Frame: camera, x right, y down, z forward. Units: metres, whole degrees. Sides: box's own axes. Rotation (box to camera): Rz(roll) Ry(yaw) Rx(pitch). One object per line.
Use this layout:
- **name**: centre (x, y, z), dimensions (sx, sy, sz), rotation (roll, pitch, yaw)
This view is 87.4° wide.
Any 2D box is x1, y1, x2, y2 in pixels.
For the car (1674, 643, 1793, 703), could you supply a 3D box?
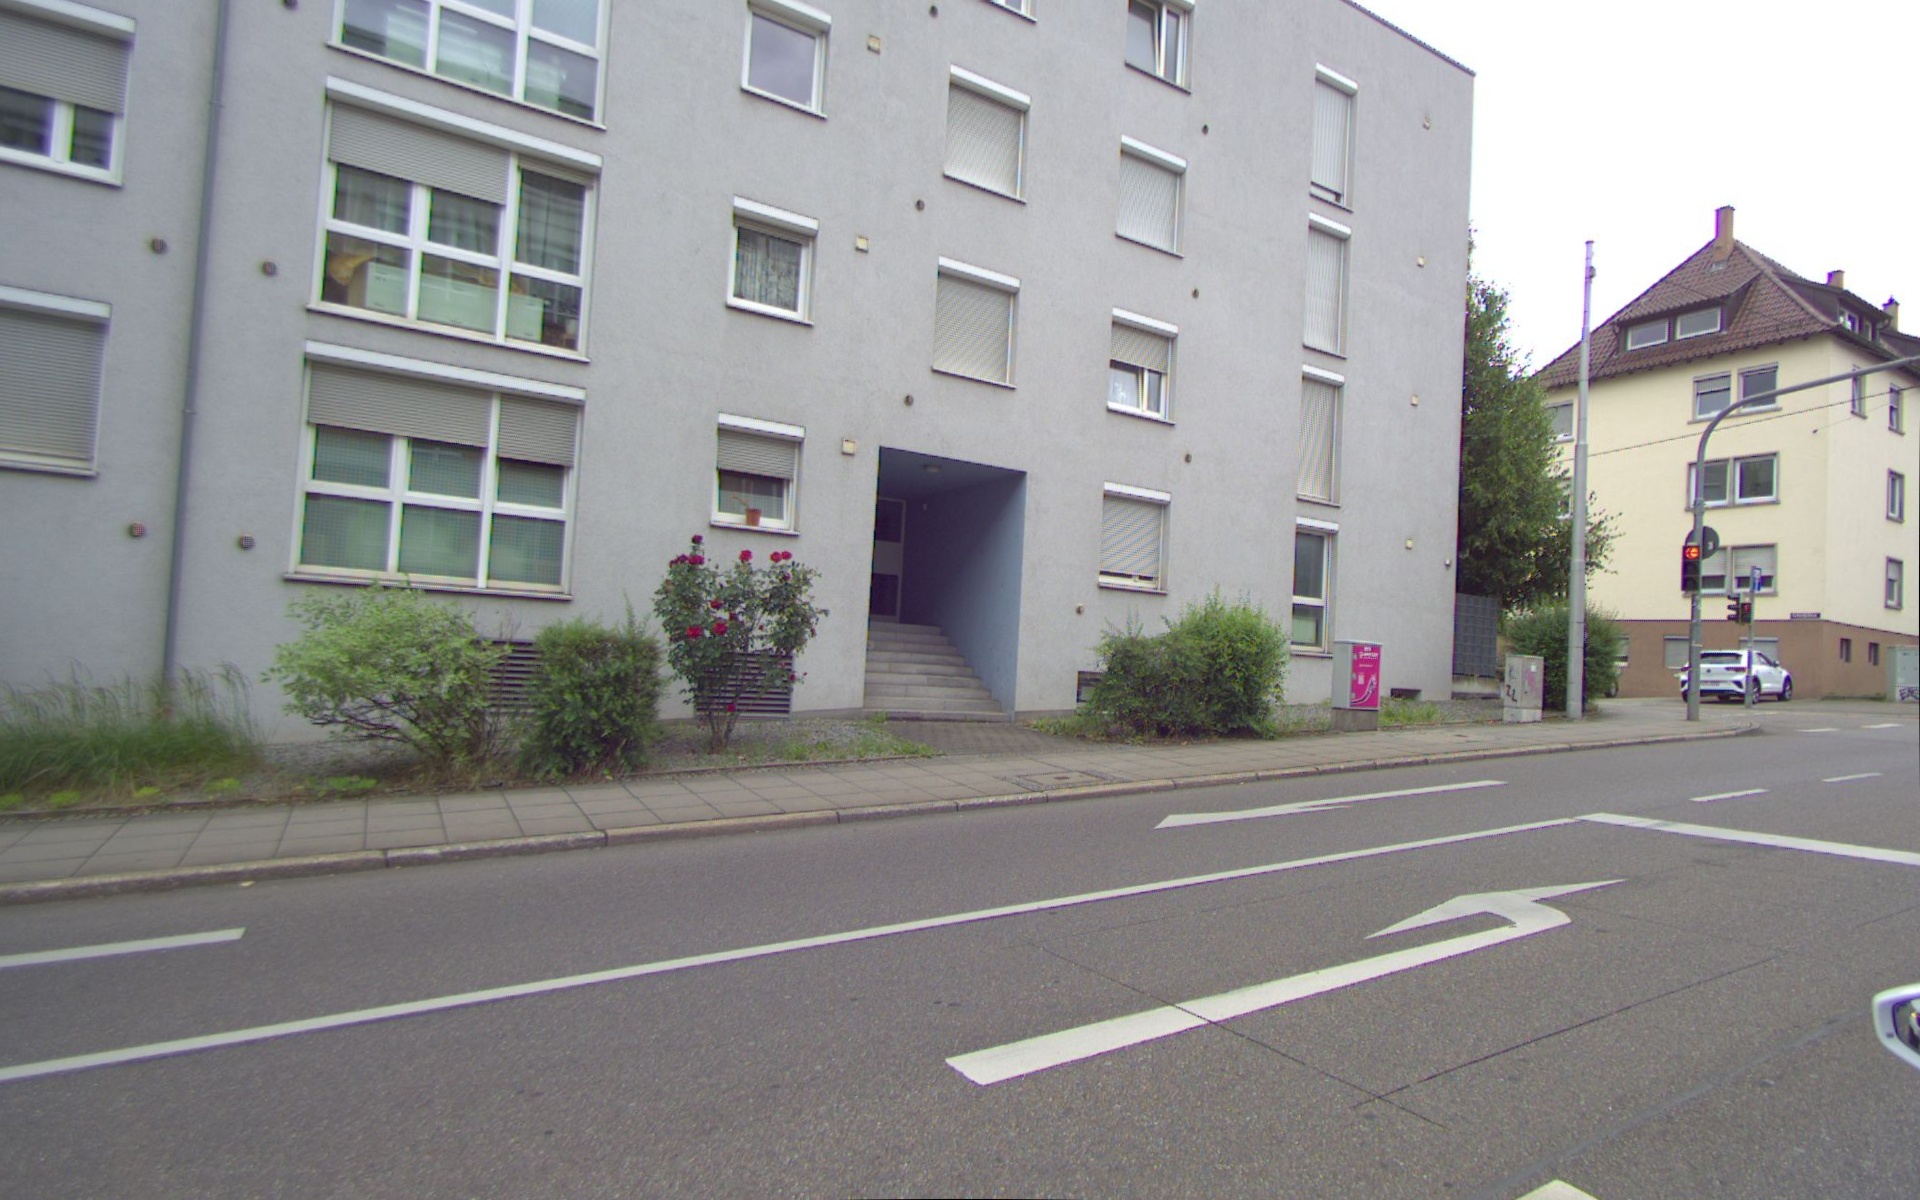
- **car**: centre (23.248, 2.166, 30.163), dimensions (3.960, 1.683, 1.660), rotation (2, -4, -35)

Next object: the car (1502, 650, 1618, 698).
- **car**: centre (20.602, 2.512, 34.463), dimensions (4.053, 1.566, 1.662), rotation (2, -4, -30)

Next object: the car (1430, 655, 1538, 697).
- **car**: centre (19.178, 2.753, 36.722), dimensions (3.953, 1.380, 1.662), rotation (2, -1, -30)
